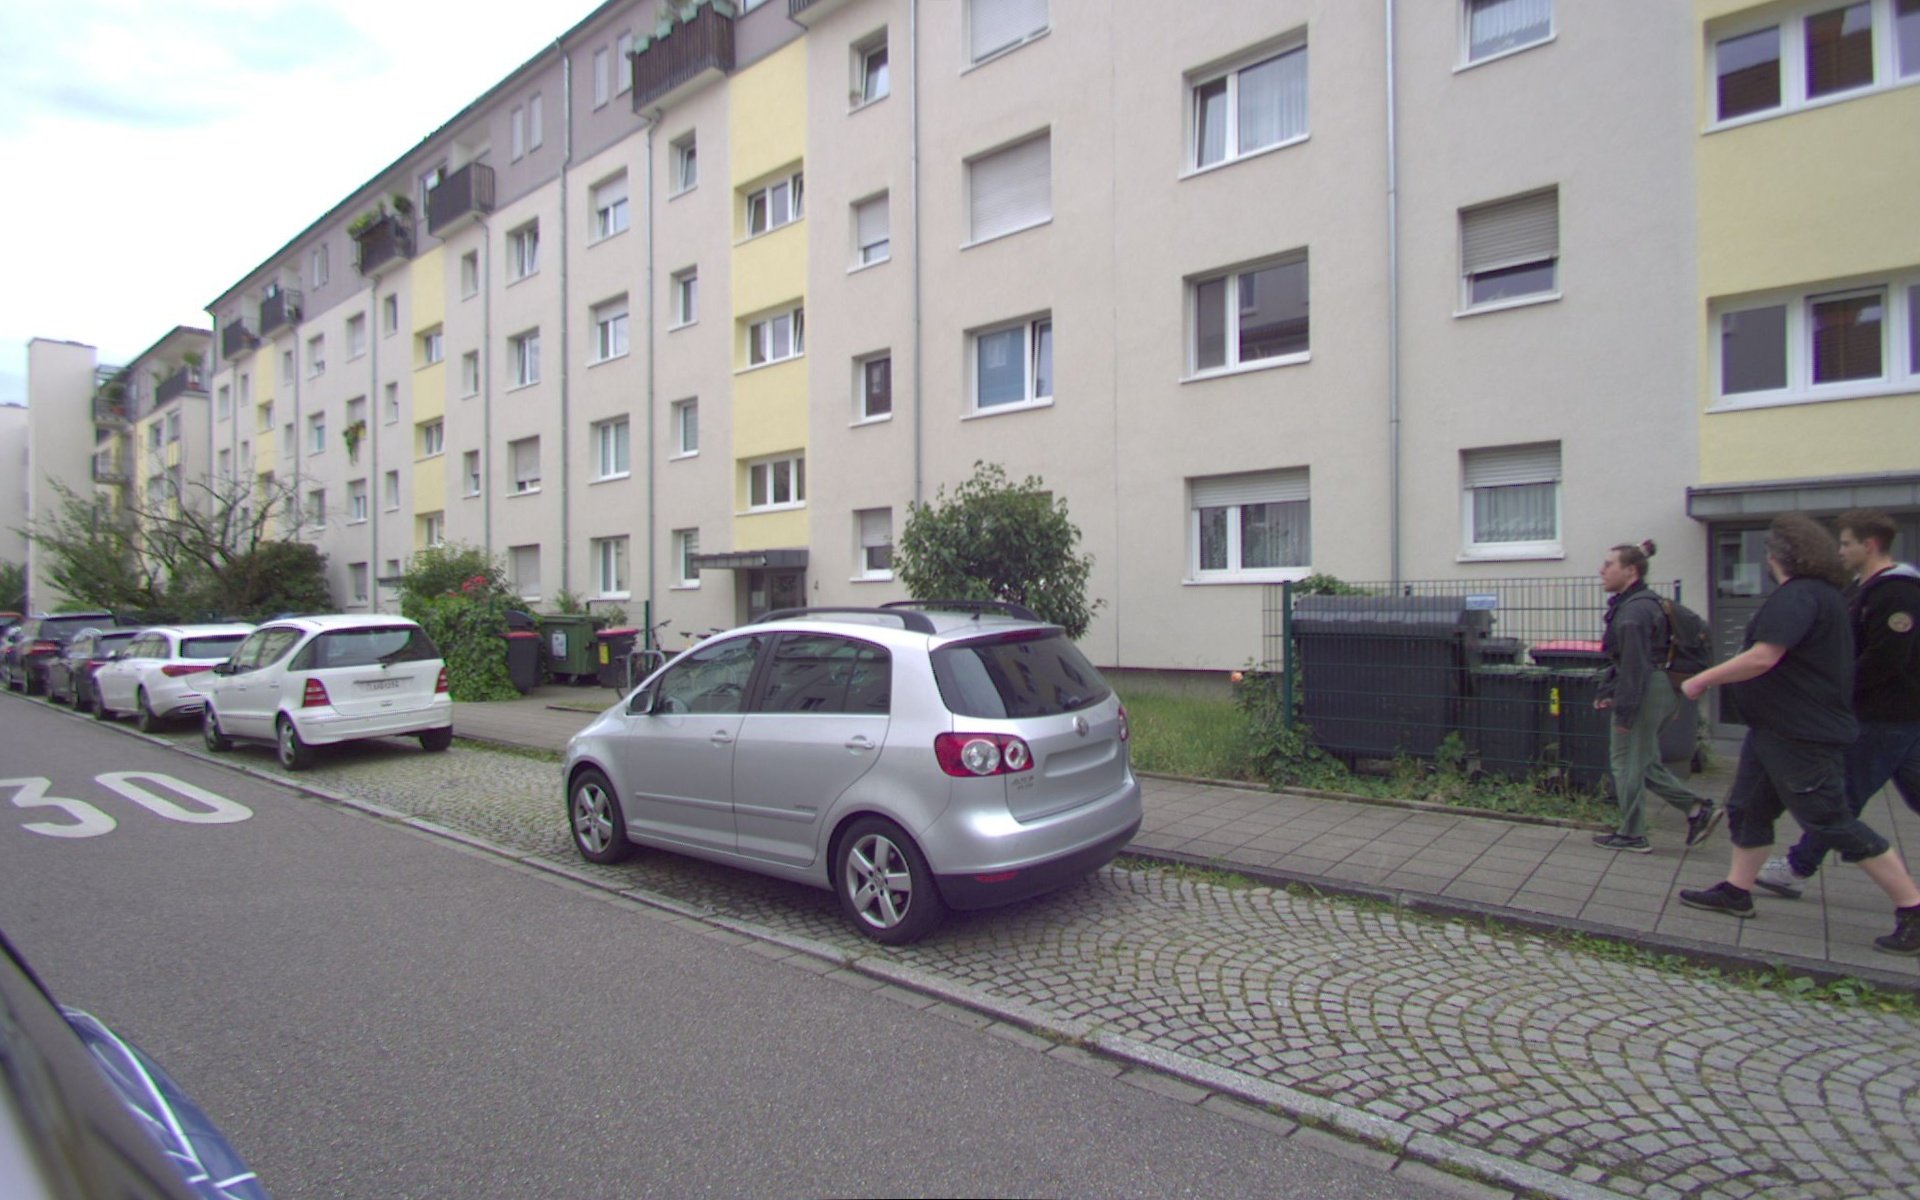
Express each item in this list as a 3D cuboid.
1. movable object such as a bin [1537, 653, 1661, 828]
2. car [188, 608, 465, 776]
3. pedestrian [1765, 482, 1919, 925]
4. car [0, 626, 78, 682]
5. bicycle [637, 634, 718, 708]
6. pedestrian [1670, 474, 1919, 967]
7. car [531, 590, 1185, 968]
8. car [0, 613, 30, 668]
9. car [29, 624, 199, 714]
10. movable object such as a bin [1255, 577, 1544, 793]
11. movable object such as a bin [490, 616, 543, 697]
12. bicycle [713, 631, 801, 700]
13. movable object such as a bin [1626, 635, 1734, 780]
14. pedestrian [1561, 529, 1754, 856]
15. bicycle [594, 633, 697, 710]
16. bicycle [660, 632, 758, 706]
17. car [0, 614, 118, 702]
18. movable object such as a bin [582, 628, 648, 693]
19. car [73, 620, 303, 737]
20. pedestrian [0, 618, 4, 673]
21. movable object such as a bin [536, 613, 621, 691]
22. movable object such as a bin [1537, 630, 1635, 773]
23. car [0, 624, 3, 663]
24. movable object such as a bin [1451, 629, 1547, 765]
[{"bbox_3d":[4.162,0.879,6.593,0.597,1.041,0.531,-2,-2,39],"label":"movable object such as a bin"},{"bbox_3d":[-7.478,0.953,11.832,3.724,1.651,1.668,-2,-1,39],"label":"car"},{"bbox_3d":[4.194,0.441,4.610,0.763,1.868,0.699,-2,-2,40],"label":"pedestrian"},{"bbox_3d":[-25.370,1.432,27.440,3.537,1.407,1.556,-2,-2,38],"label":"car"},{"bbox_3d":[-4.137,1.012,14.755,1.496,1.032,0.352,-2,-2,40],"label":"bicycle"},{"bbox_3d":[3.647,0.460,4.264,0.973,1.877,0.633,-2,0,41],"label":"pedestrian"},{"bbox_3d":[-0.817,0.787,6.110,3.911,1.562,1.637,-2,0,40],"label":"car"},{"bbox_3d":[-33.210,1.392,34.512,3.537,1.820,1.686,-2,-2,38],"label":"car"},{"bbox_3d":[-15.826,1.198,18.854,4.480,1.464,1.707,-1,-1,41],"label":"car"},{"bbox_3d":[3.420,0.583,7.859,1.670,1.432,1.573,-2,-1,40],"label":"movable object such as a bin"},{"bbox_3d":[-7.742,0.969,17.682,0.587,1.378,0.651,0,0,36],"label":"movable object such as a bin"},{"bbox_3d":[-3.175,1.000,15.730,1.557,1.032,0.416,-2,-1,38],"label":"bicycle"},{"bbox_3d":[5.773,0.823,8.106,0.633,1.059,0.855,-2,-2,39],"label":"movable object such as a bin"},{"bbox_3d":[3.903,0.479,5.670,0.802,1.669,0.608,-2,-2,41],"label":"pedestrian"},{"bbox_3d":[-4.521,0.994,14.461,1.877,1.032,0.483,-2,-2,41],"label":"bicycle"},{"bbox_3d":[-3.758,1.007,15.076,1.753,1.032,0.473,-2,-2,40],"label":"bicycle"},{"bbox_3d":[-20.426,1.256,22.748,4.448,1.793,1.555,-2,-2,40],"label":"car"},{"bbox_3d":[-6.309,1.089,18.521,0.786,1.117,0.861,0,0,36],"label":"movable object such as a bin"},{"bbox_3d":[-11.896,1.114,15.482,4.681,1.521,1.701,-2,-2,38],"label":"car"},{"bbox_3d":[-29.780,1.404,31.019,0.621,1.679,0.596,-2,-2,38],"label":"pedestrian"},{"bbox_3d":[-7.205,0.958,19.117,1.187,1.385,1.047,0,0,36],"label":"movable object such as a bin"},{"bbox_3d":[5.307,0.826,8.570,0.597,1.125,0.834,-2,-2,38],"label":"movable object such as a bin"},{"bbox_3d":[-37.909,1.677,38.523,3.537,1.455,1.686,-2,-2,38],"label":"car"},{"bbox_3d":[4.792,0.826,8.987,0.597,1.125,0.834,-2,-2,38],"label":"movable object such as a bin"}]
